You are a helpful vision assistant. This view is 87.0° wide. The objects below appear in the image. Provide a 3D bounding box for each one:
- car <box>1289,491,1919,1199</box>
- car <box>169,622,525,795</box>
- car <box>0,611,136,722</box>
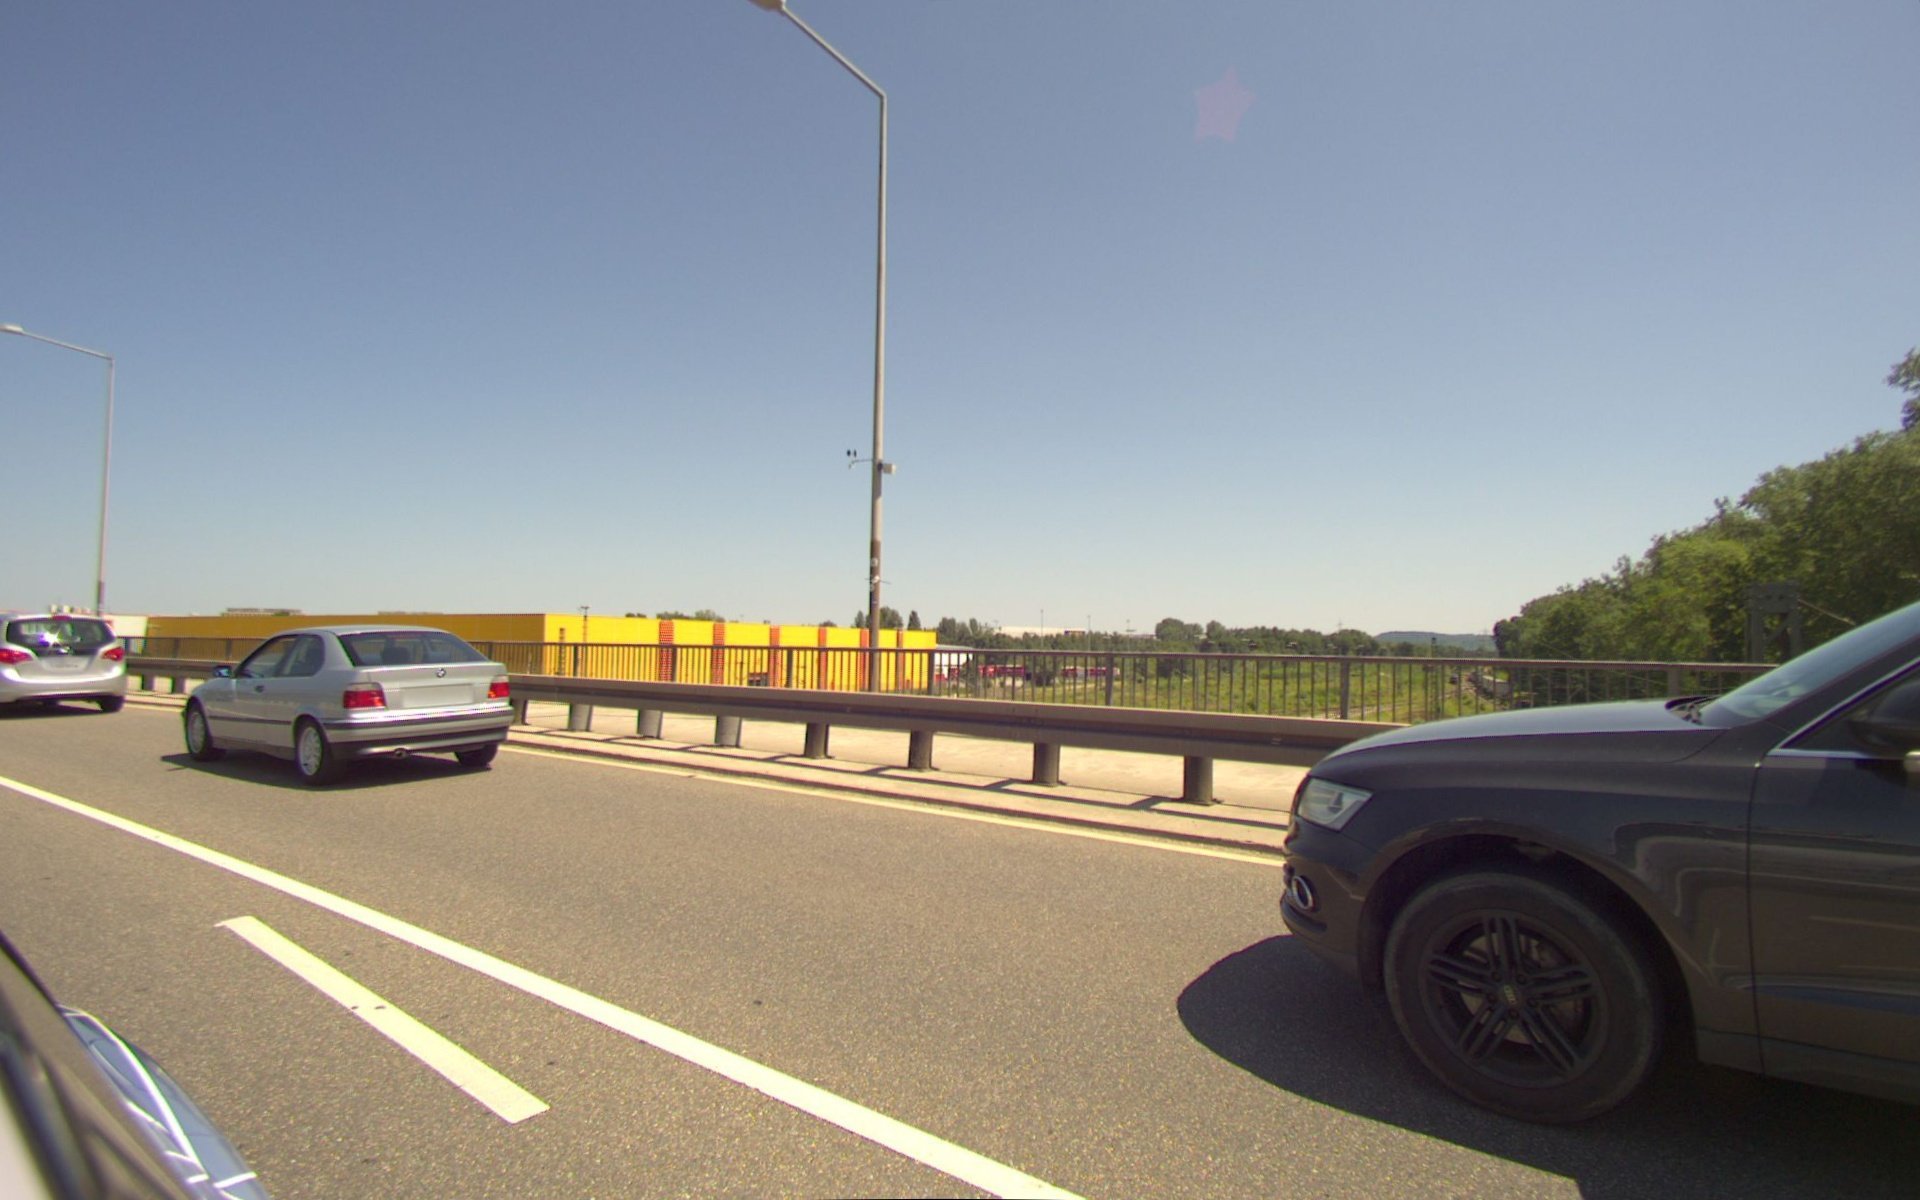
[{"bbox_3d":[3.270,0.576,2.548,4.297,1.653,1.783,-1,-2,40],"label":"car"},{"bbox_3d":[-6.164,0.918,10.024,3.994,1.386,1.681,-1,-2,37],"label":"car"},{"bbox_3d":[-15.196,0.999,16.245,4.160,1.592,1.724,-1,-2,31],"label":"car"}]
